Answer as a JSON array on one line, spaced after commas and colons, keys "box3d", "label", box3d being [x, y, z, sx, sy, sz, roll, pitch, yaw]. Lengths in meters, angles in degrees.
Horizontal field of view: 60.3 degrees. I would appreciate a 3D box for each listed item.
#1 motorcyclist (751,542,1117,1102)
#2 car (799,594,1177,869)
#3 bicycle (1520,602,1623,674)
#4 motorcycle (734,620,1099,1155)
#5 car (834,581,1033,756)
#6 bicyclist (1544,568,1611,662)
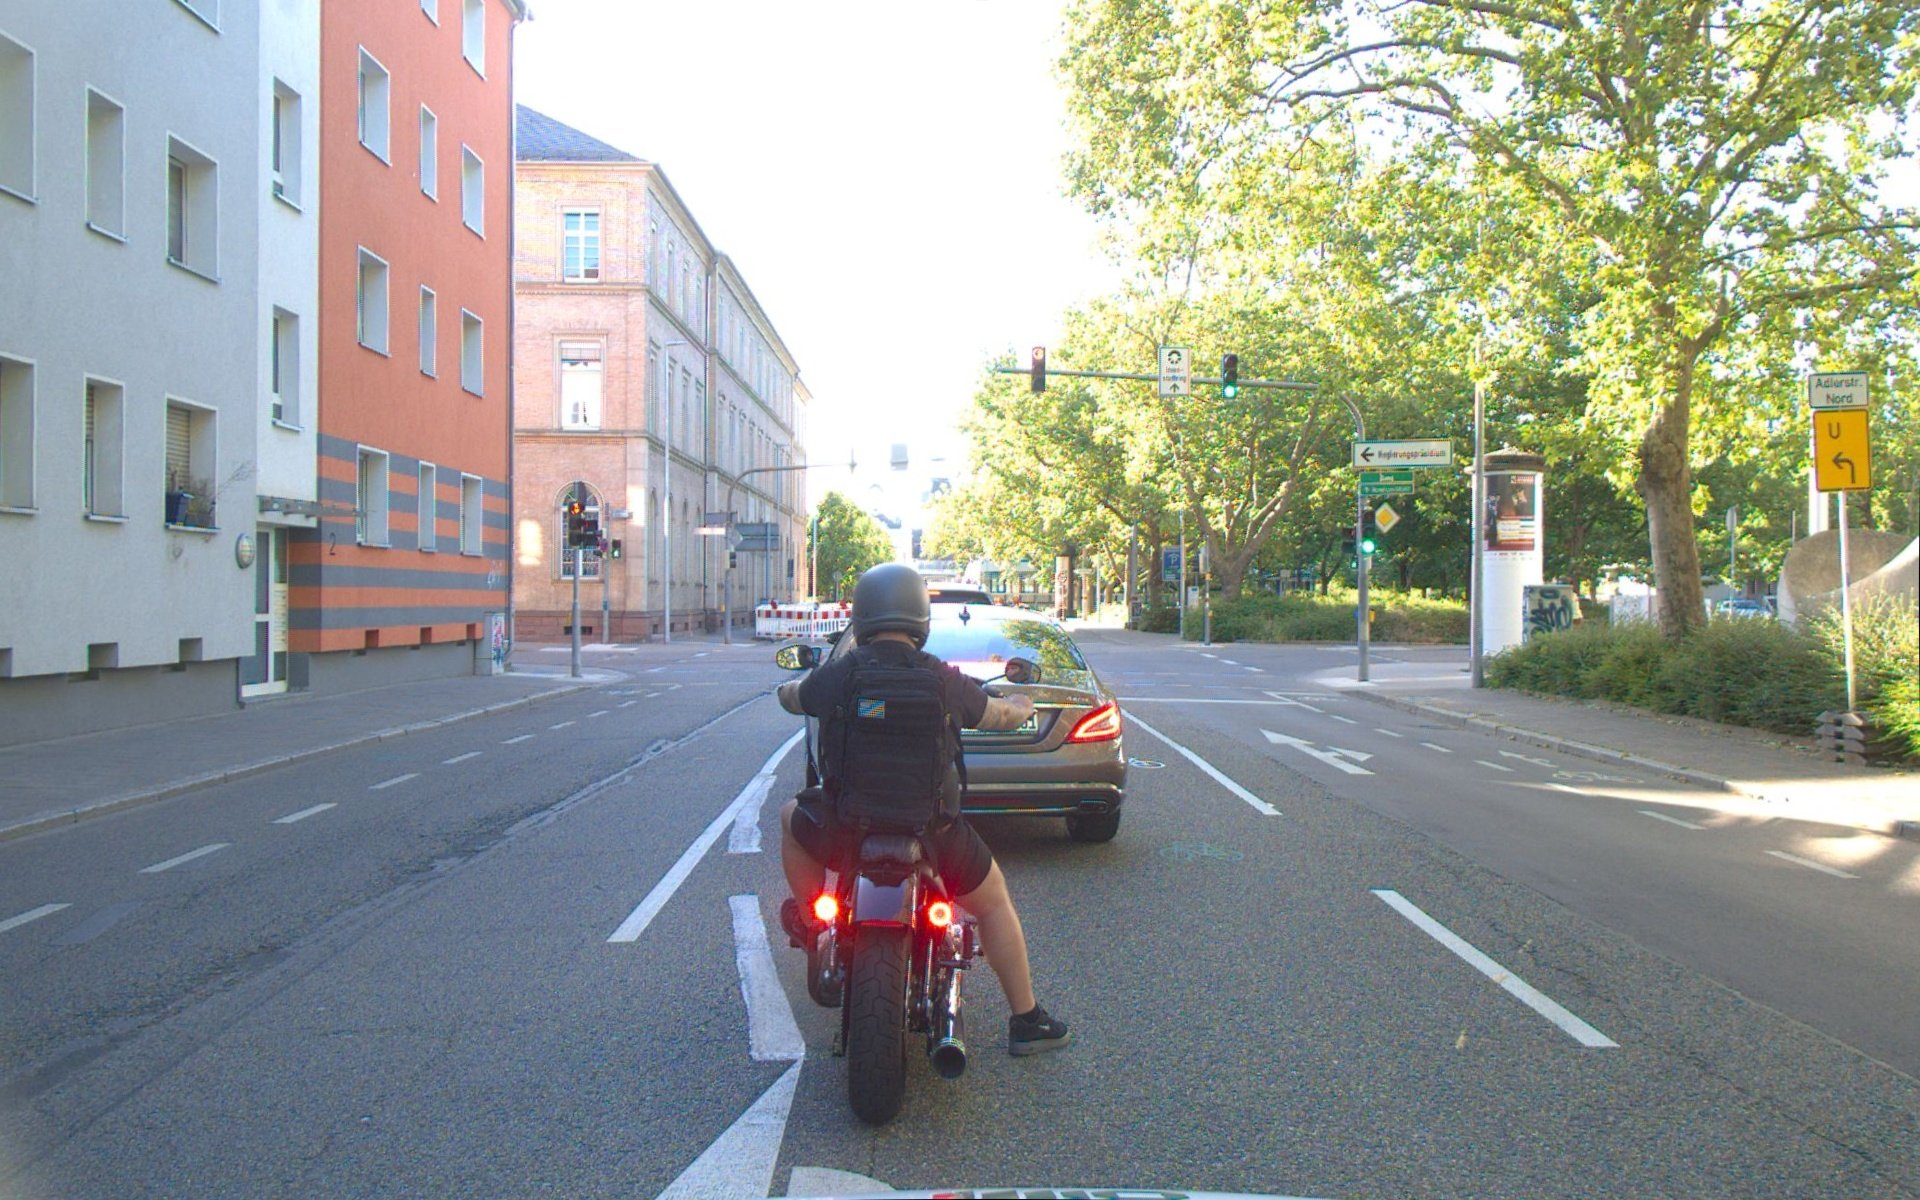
[{"box3d": [-0.080, 0.648, 5.258, 1.039, 1.610, 0.908, 1, 0, -1], "label": "motorcyclist"}, {"box3d": [-0.037, 0.698, 11.111, 1.867, 1.466, 4.280, 0, 0, -9], "label": "car"}, {"box3d": [10.584, 0.651, 28.595, 2.155, 1.193, 0.708, 1, -1, -40], "label": "bicycle"}, {"box3d": [-0.130, 0.773, 5.527, 0.942, 1.380, 2.319, 1, 0, -1], "label": "motorcycle"}, {"box3d": [-0.345, 0.606, 16.758, 1.777, 1.563, 3.846, 0, 0, -3], "label": "car"}, {"box3d": [10.728, 0.261, 28.723, 0.927, 1.610, 0.708, 1, -1, -40], "label": "bicyclist"}]
